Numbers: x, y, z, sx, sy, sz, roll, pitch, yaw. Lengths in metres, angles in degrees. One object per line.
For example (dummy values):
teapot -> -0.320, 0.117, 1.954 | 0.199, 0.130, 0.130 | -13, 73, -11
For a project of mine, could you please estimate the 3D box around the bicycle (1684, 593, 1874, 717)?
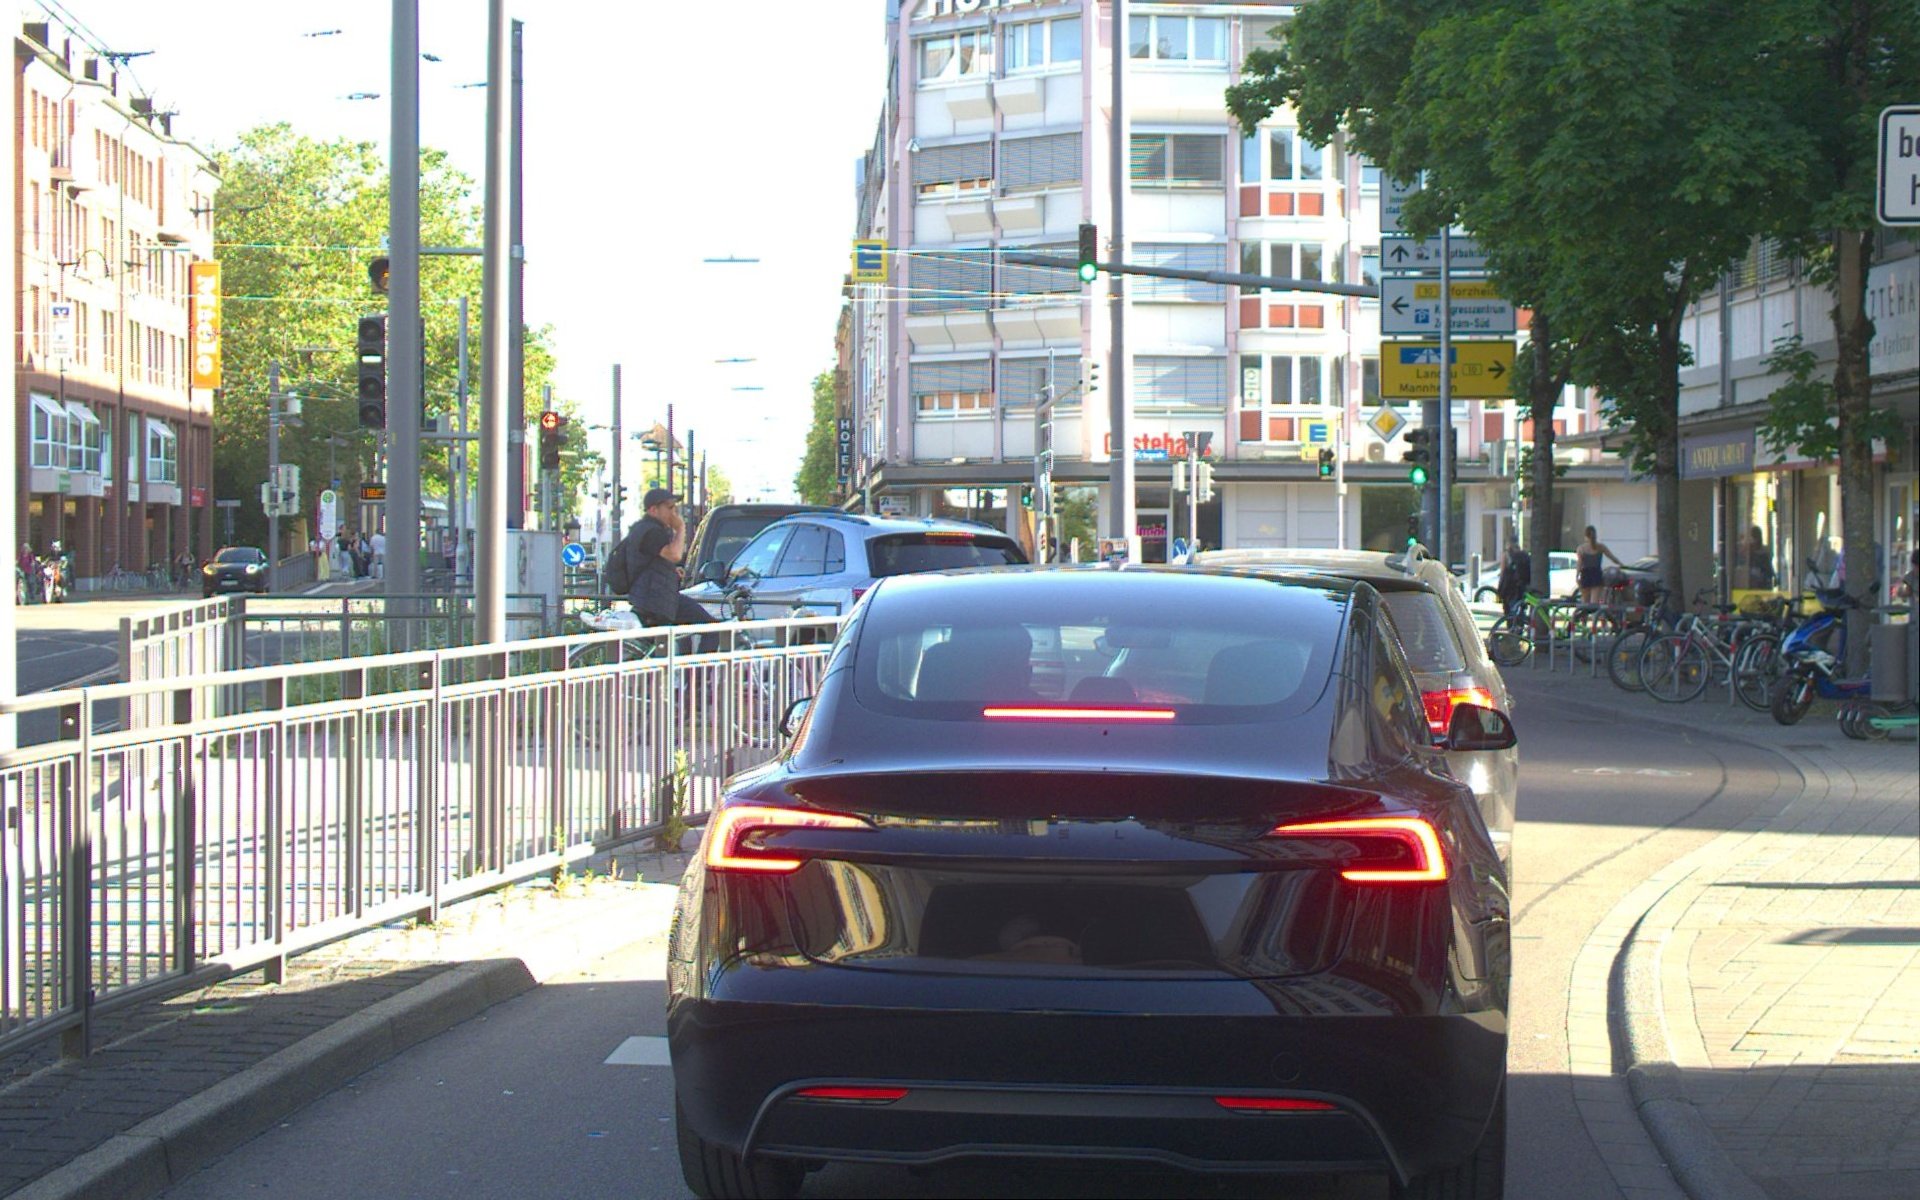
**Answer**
bicycle -> 7.385, 0.494, 31.016 | 1.649, 1.095, 0.350 | 1, 0, -10

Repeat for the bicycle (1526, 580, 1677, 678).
bicycle -> 7.332, 0.327, 39.316 | 1.650, 1.095, 0.350 | 1, 0, 1

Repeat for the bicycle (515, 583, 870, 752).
bicycle -> -1.719, 0.424, 22.413 | 2.329, 1.050, 0.631 | 0, 1, -38

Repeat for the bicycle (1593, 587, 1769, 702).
bicycle -> 7.002, 0.431, 33.388 | 1.649, 1.095, 0.350 | 1, 0, -10

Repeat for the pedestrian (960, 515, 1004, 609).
pedestrian -> 0.469, -0.825, 74.148 | 0.921, 2.007, 0.972 | 1, 0, -1

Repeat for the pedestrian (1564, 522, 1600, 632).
pedestrian -> 9.744, -0.365, 53.862 | 0.526, 1.704, 0.403 | 1, 0, 10

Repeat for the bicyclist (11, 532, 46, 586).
bicyclist -> -26.552, -1.171, 98.021 | 0.784, 1.558, 0.746 | 0, 1, 2

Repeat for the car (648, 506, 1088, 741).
car -> -0.804, 0.143, 26.517 | 1.883, 1.656, 4.159 | 1, 1, -25

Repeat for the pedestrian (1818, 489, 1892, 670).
pedestrian -> 10.037, -0.228, 38.553 | 0.662, 2.007, 0.579 | 1, 0, 2

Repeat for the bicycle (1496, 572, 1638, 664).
bicycle -> 7.302, 0.209, 41.374 | 1.650, 1.095, 0.350 | 0, 1, 1

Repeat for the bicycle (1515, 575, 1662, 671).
bicycle -> 7.365, 0.266, 40.329 | 1.650, 1.095, 0.350 | 1, 0, 1

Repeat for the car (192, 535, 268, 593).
car -> -22.498, -1.101, 106.048 | 1.697, 1.725, 3.707 | 1, 1, -3

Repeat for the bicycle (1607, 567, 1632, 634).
bicycle -> 10.245, 0.000, 53.427 | 0.332, 1.030, 1.256 | 1, 0, 9

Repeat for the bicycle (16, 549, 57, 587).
bicycle -> -26.525, -0.926, 98.756 | 0.529, 1.085, 2.225 | 0, 1, 1

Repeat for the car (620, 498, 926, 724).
car -> -1.851, 0.073, 32.695 | 1.993, 2.007, 4.001 | 0, 1, -17

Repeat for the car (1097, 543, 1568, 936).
car -> 1.610, 0.490, 15.021 | 1.751, 1.449, 3.999 | 1, 1, 6

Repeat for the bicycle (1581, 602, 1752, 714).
bicycle -> 7.062, 0.582, 34.372 | 1.649, 1.095, 0.350 | 1, 0, -10

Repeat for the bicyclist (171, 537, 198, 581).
bicyclist -> -28.036, -1.490, 124.250 | 0.784, 1.558, 0.746 | 1, 0, 2

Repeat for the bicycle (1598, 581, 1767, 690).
bicycle -> 7.421, 0.364, 35.336 | 1.650, 1.095, 0.350 | 1, 0, 1

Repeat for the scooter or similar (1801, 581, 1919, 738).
scooter or similar -> 7.559, 0.471, 27.177 | 1.644, 1.211, 0.644 | 1, 0, 30

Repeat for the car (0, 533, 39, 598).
car -> -23.297, -0.827, 81.450 | 1.710, 1.521, 4.036 | 1, 1, 2

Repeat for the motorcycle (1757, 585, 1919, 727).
motorcycle -> 7.714, 0.474, 29.252 | 1.707, 1.169, 0.541 | 1, 0, -2

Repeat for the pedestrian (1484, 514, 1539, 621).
pedestrian -> 8.620, -0.508, 53.730 | 0.699, 1.656, 0.777 | 1, 0, -1

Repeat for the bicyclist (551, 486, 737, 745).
bicyclist -> -2.037, 0.090, 22.118 | 0.758, 1.623, 0.978 | 0, 1, -39

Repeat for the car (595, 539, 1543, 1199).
car -> 0.354, 0.600, 8.690 | 1.829, 1.450, 3.999 | 1, 1, 4

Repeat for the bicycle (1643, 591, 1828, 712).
bicycle -> 7.183, 0.474, 31.861 | 1.649, 1.095, 0.350 | 1, 0, -10

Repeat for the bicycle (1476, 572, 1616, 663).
bicycle -> 7.234, 0.218, 42.468 | 1.650, 1.095, 0.350 | 1, 0, 1

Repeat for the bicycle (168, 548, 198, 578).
bicycle -> -28.073, -1.332, 124.241 | 0.529, 1.085, 2.224 | 1, 1, 1

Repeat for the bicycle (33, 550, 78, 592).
bicycle -> -24.034, -0.778, 91.379 | 0.459, 1.089, 2.201 | 1, 1, 4

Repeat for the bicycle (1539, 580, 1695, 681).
bicycle -> 7.312, 0.340, 38.289 | 1.650, 1.095, 0.350 | 1, 0, 1

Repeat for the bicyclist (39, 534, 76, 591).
bicyclist -> -24.028, -0.995, 91.518 | 0.785, 1.522, 0.589 | 1, 0, 4

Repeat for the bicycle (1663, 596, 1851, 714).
bicycle -> 7.288, 0.506, 31.437 | 1.649, 1.057, 0.350 | 1, 0, -10

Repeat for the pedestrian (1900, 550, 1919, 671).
pedestrian -> 10.746, 0.119, 38.332 | 0.389, 1.339, 0.513 | 1, 0, 2
